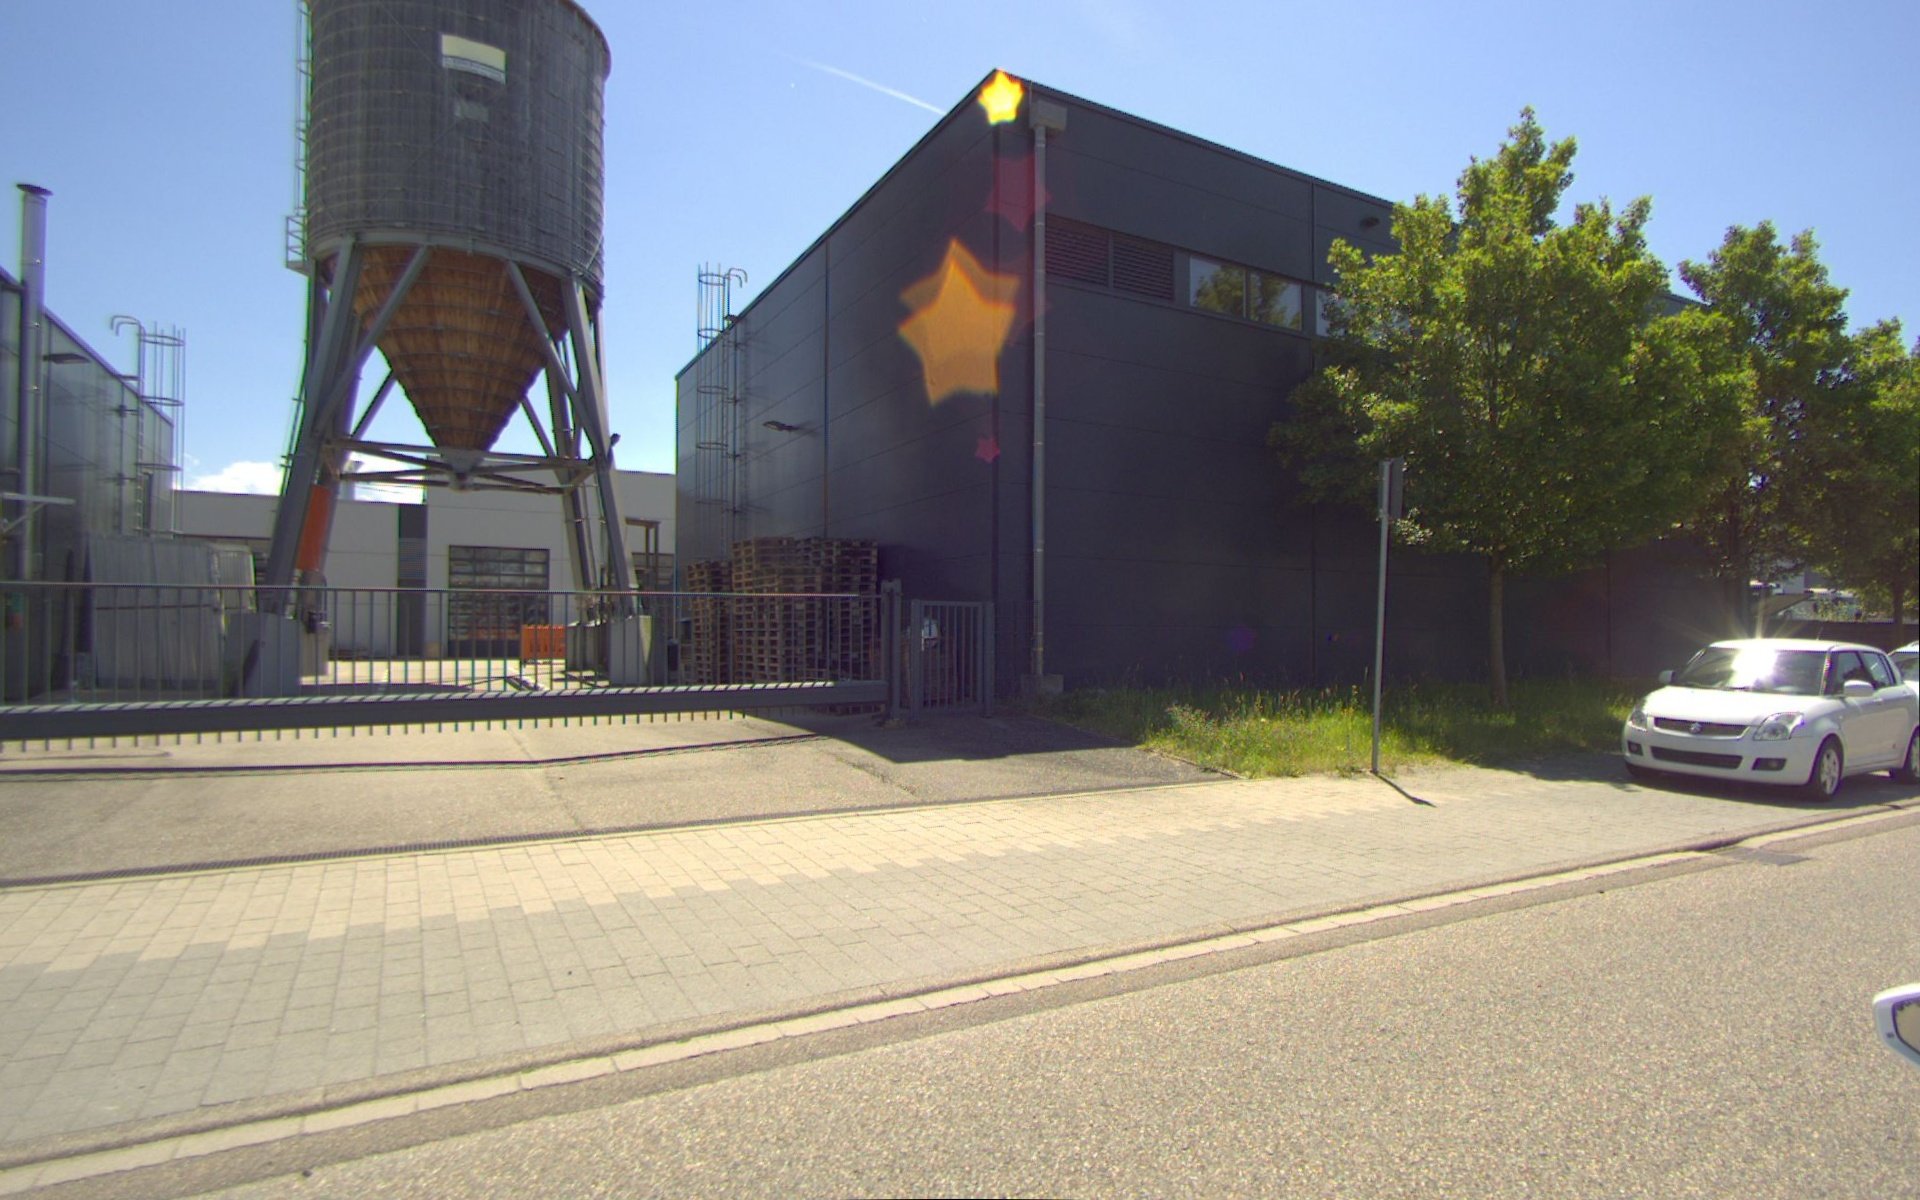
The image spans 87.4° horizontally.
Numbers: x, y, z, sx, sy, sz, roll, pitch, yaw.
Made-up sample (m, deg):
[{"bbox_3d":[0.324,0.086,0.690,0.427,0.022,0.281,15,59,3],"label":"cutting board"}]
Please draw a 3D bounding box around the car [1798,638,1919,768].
[{"bbox_3d":[13.049,1.273,13.084,4.499,1.495,1.791,2,-1,-29],"label":"car"}]

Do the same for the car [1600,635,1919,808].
[{"bbox_3d":[8.654,1.147,10.633,3.814,1.495,1.711,2,-1,-32],"label":"car"}]
